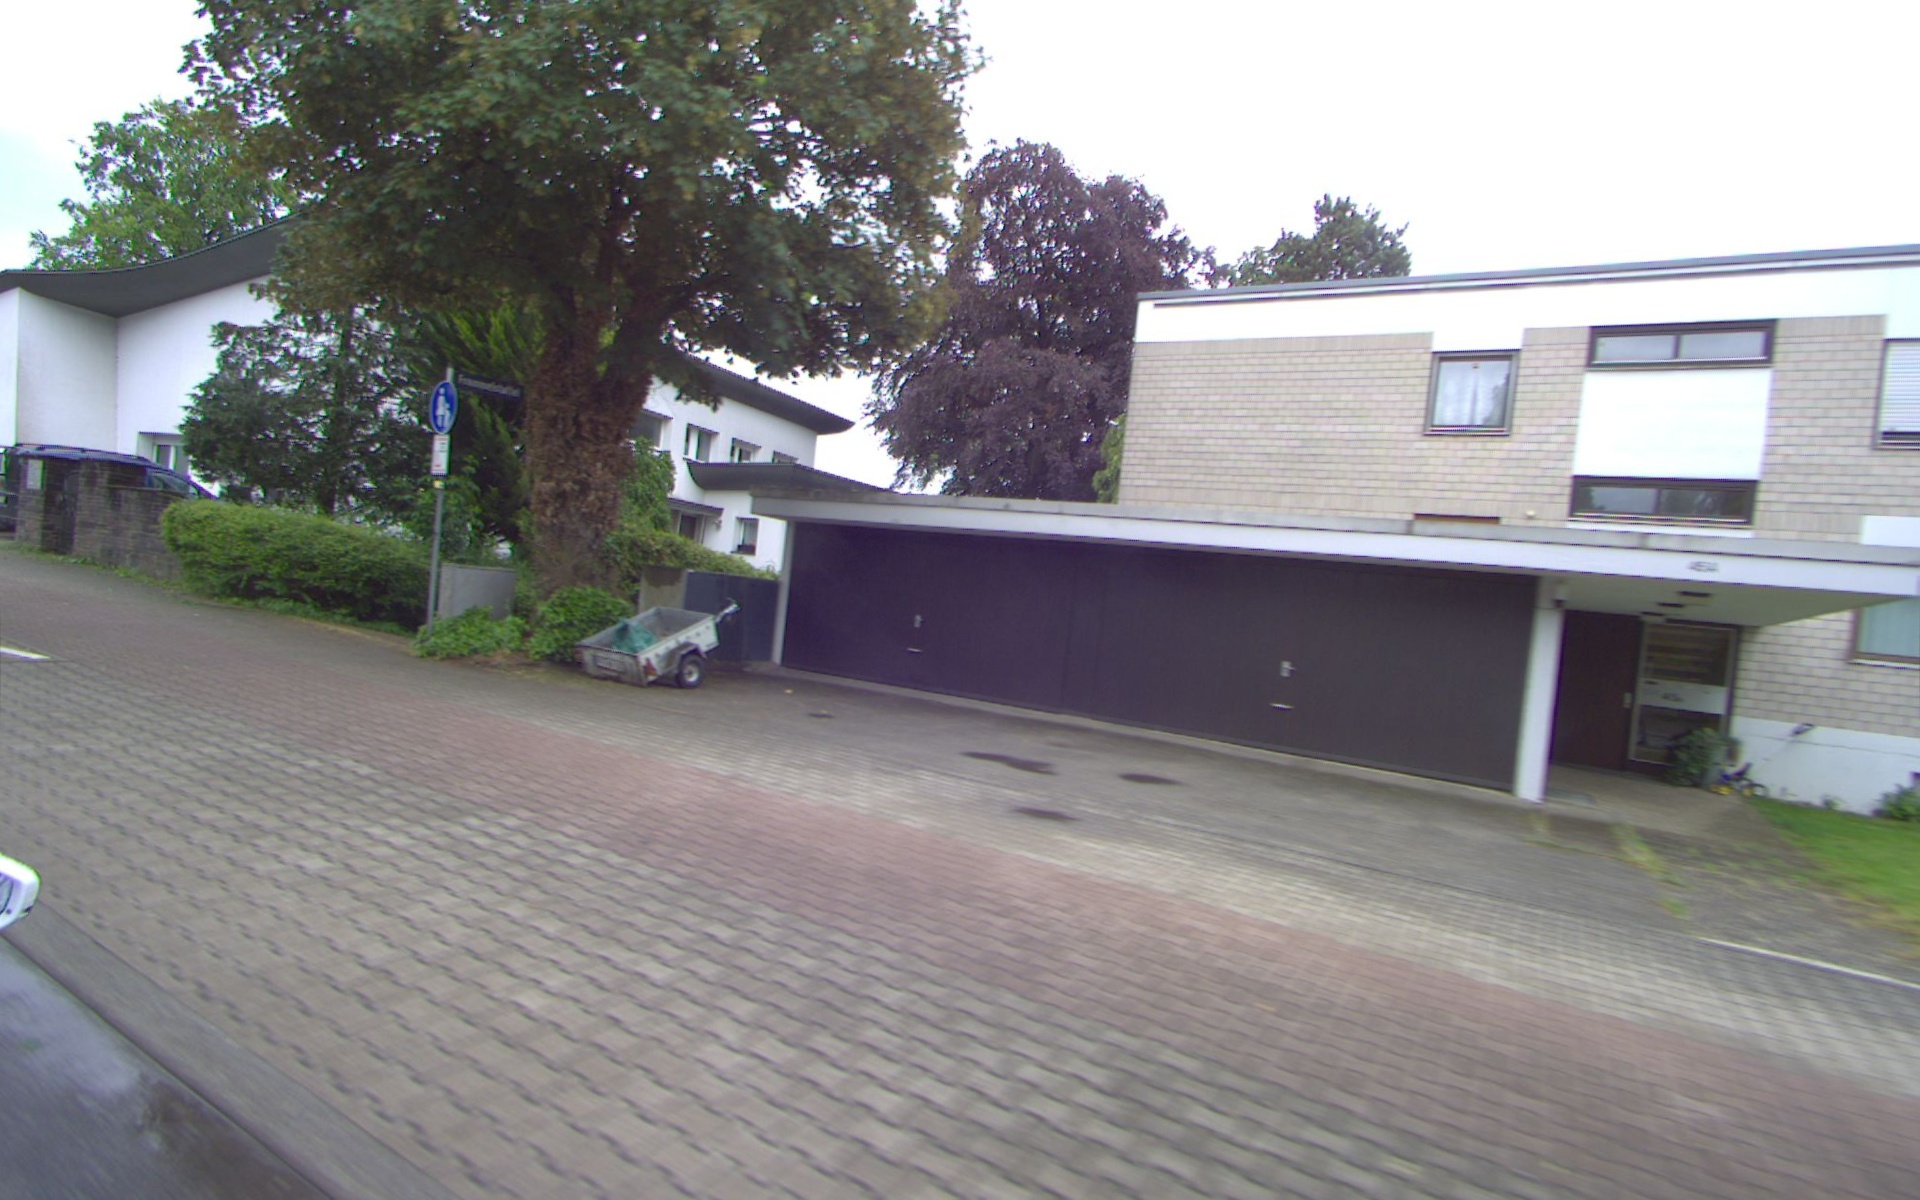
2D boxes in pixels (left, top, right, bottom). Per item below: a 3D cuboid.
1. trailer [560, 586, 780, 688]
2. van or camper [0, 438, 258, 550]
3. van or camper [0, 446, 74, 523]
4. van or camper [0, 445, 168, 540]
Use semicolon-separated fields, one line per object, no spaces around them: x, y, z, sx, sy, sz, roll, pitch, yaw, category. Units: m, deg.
-3.414;0.466;12.057;1.249;0.970;2.177;8;0;32;trailer
-17.129;-2.125;20.614;1.914;1.813;4.015;8;4;29;van or camper
-21.962;-2.672;22.032;1.737;1.577;3.407;8;3;22;van or camper
-19.575;-2.333;21.193;2.086;1.701;3.990;8;4;27;van or camper
